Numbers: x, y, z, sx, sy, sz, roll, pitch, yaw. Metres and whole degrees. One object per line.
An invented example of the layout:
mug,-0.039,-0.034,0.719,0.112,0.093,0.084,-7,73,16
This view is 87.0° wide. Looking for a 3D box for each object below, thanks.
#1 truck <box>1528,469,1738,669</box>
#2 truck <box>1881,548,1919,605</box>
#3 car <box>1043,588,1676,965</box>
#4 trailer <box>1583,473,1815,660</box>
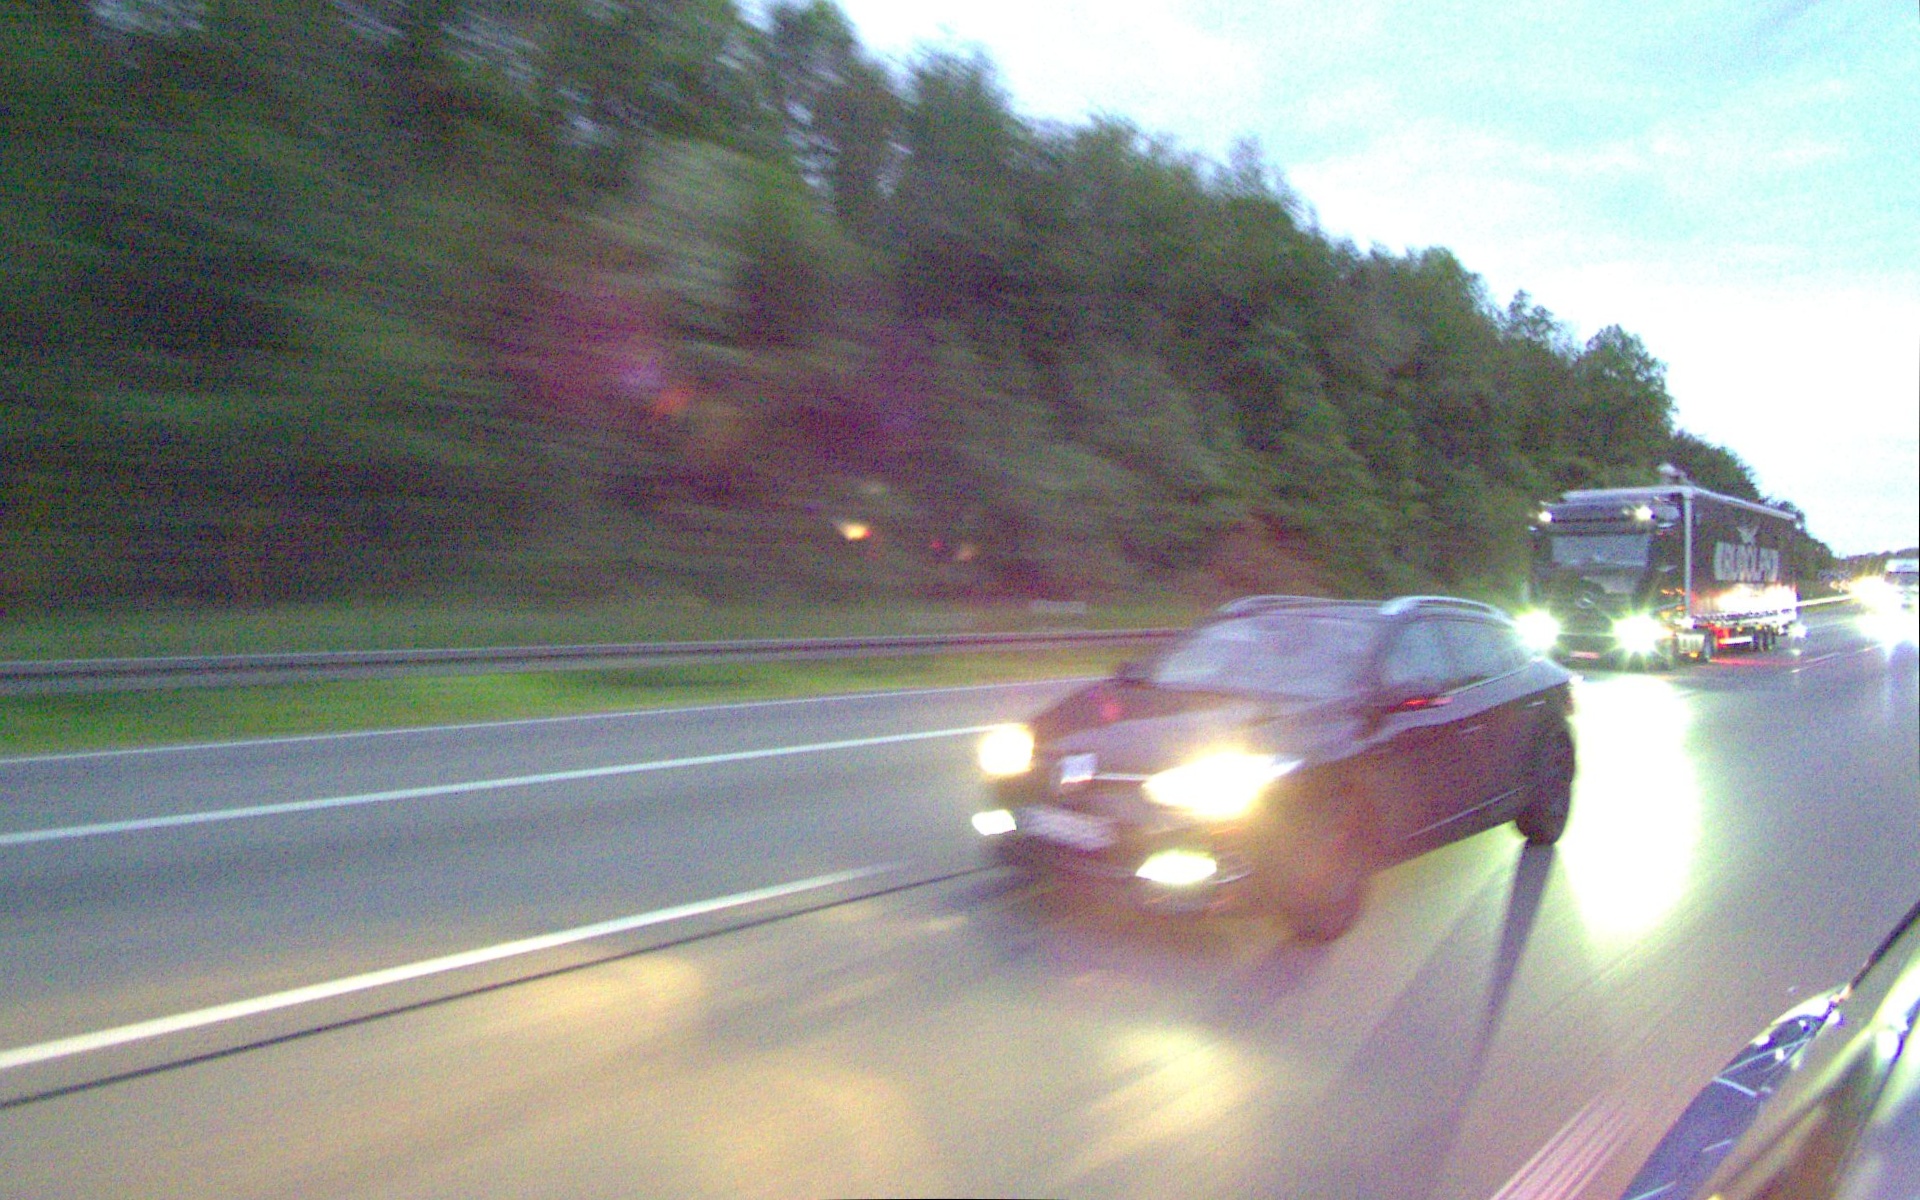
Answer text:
truck,15.409,-0.673,23.051,5.491,4.017,2.497,0,1,-40
truck,72.833,-1.742,76.603,13.305,4.017,3.337,-1,1,-42
car,2.810,0.689,6.353,4.863,1.508,1.694,-1,1,-41
trailer,20.615,-0.814,27.676,13.274,4.124,2.486,-1,1,-42
